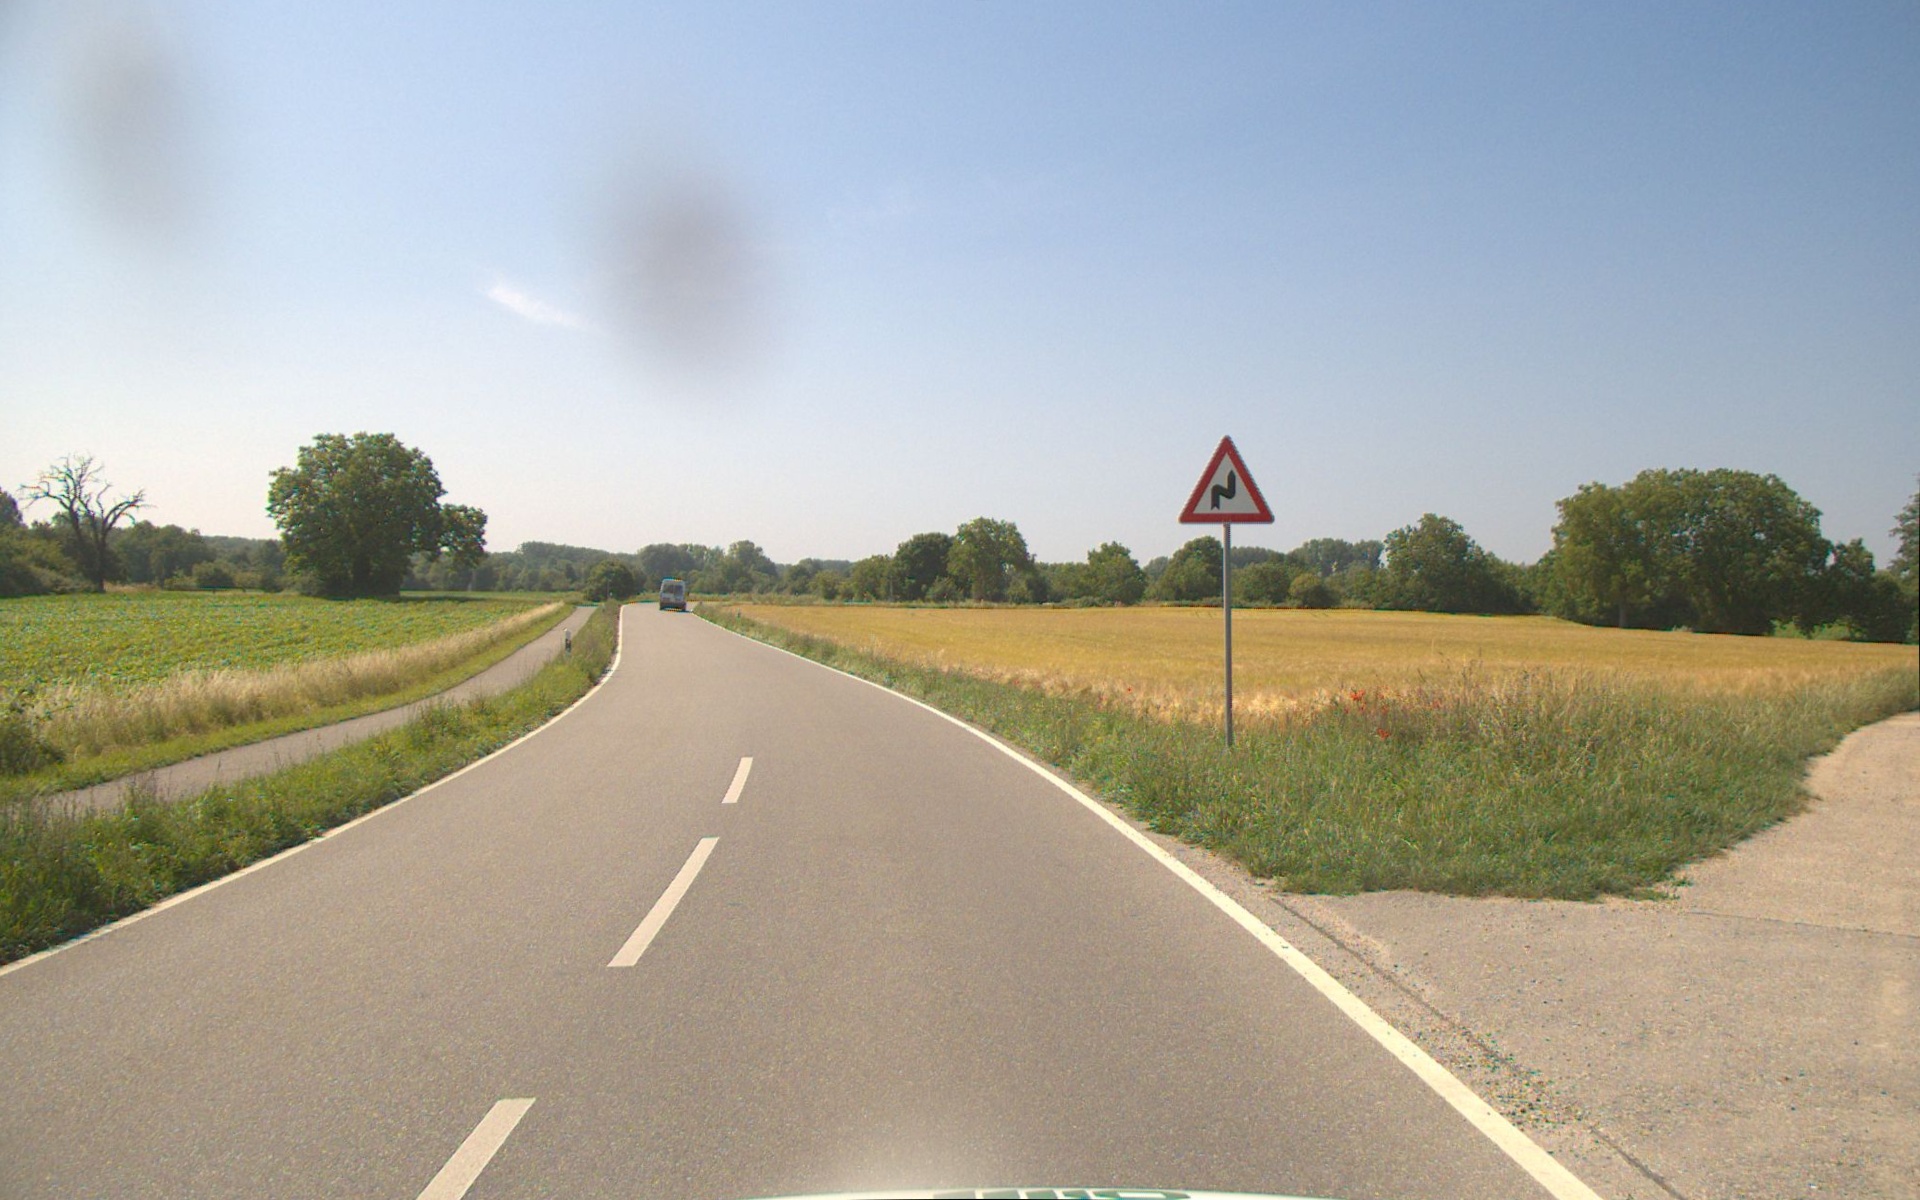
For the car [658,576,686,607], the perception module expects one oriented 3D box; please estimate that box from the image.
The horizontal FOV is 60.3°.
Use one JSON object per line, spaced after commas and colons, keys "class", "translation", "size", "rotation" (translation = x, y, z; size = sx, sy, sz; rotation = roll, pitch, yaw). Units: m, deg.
{"class": "car", "translation": [-23.370, -0.717, 134.164], "size": [2.065, 2.408, 5.676], "rotation": [0, 1, -8]}
